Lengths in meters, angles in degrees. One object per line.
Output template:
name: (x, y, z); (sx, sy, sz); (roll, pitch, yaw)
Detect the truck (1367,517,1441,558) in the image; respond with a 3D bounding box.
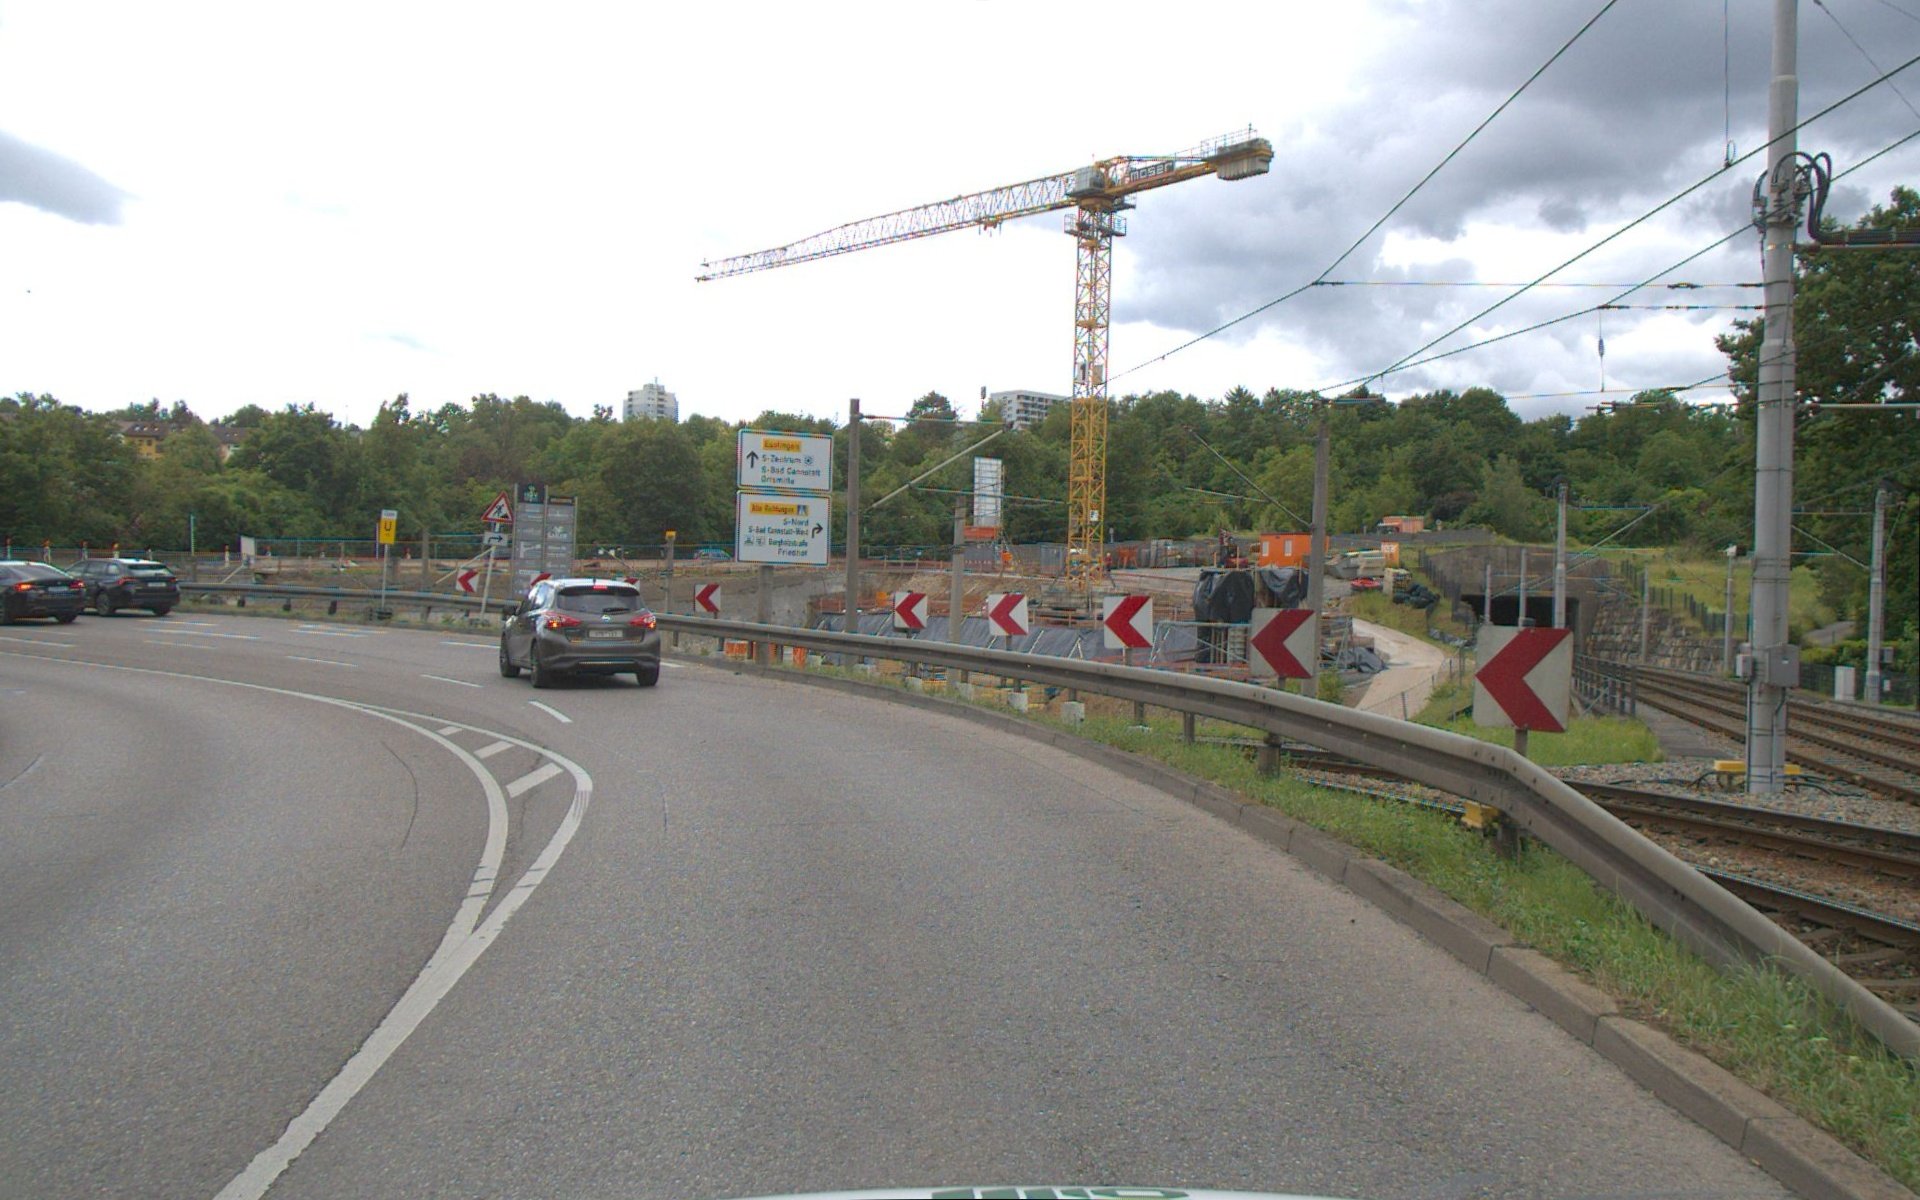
truck: (50.195, -7.027, 186.753); (9.704, 4.294, 3.075); (0, 2, -41)

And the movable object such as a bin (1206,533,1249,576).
movable object such as a bin: (20.118, -3.415, 124.372); (1.821, 3.131, 2.764); (0, 0, -37)

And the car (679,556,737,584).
car: (-19.039, -2.262, 124.883); (1.967, 2.049, 3.971); (0, 0, 45)

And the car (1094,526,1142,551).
car: (14.053, -5.477, 147.080); (3.952, 2.049, 1.976); (0, 0, -34)

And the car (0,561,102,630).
car: (-23.407, -0.161, 40.468); (4.854, 1.502, 1.876); (2, 3, 29)

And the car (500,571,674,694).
car: (-5.647, 0.408, 24.694); (1.775, 1.579, 3.970); (0, 2, -25)

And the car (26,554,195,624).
car: (-22.530, -0.325, 43.861); (4.108, 1.665, 1.878); (2, 3, 26)
